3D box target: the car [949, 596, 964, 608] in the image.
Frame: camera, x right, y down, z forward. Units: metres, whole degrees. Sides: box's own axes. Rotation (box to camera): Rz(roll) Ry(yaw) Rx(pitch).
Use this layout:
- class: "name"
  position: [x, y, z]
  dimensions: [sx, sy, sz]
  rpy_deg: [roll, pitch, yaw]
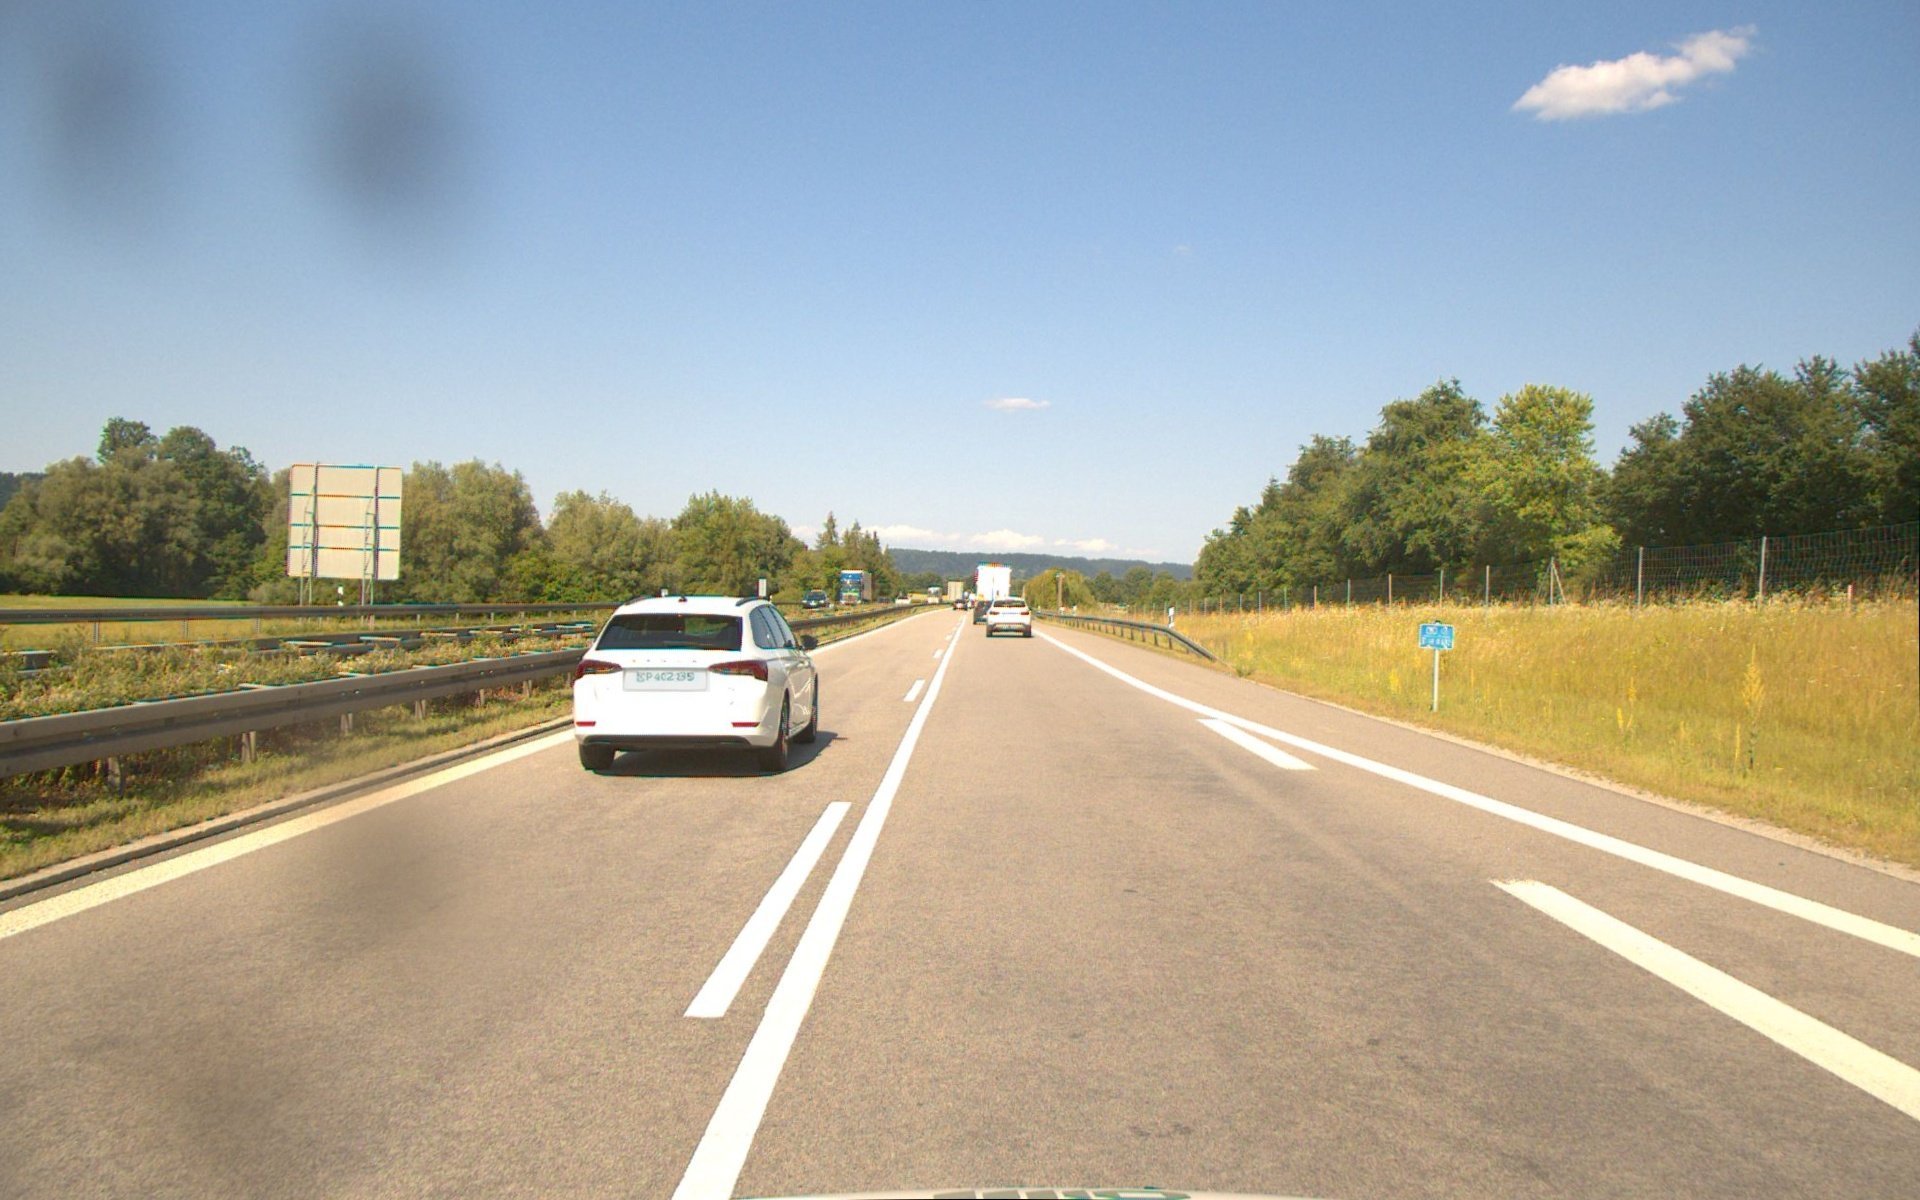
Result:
- class: "car"
  position: [-0.470, 0.271, 213.845]
  dimensions: [1.735, 1.446, 4.495]
  rpy_deg: [3, 0, 1]

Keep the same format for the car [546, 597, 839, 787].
- class: "car"
  position: [-2.268, 0.709, 15.475]
  dimensions: [1.802, 1.446, 5.255]
  rpy_deg: [1, 0, 1]

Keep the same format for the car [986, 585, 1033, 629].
- class: "car"
  position: [1.930, 0.243, 65.463]
  dimensions: [1.650, 1.521, 4.987]
  rpy_deg: [4, 1, 0]

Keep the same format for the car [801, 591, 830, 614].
- class: "car"
  position: [-11.598, 0.229, 132.790]
  dimensions: [1.811, 1.835, 4.870]
  rpy_deg: [0, -1, 0]

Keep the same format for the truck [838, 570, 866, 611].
- class: "truck"
  position: [-12.007, -1.058, 184.347]
  dimensions: [2.684, 4.378, 6.334]
  rpy_deg: [1, 0, 0]

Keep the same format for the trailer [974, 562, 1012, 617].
- class: "trailer"
  position: [2.597, -0.785, 128.154]
  dimensions: [2.760, 4.036, 14.162]
  rpy_deg: [1, 0, 1]

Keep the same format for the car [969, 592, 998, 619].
- class: "car"
  position: [1.413, 0.347, 99.090]
  dimensions: [1.631, 1.480, 4.545]
  rpy_deg: [3, 0, 1]

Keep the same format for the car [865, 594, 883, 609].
- class: "car"
  position: [-8.859, 0.114, 171.080]
  dimensions: [1.646, 1.485, 4.925]
  rpy_deg: [-1, 0, -1]
